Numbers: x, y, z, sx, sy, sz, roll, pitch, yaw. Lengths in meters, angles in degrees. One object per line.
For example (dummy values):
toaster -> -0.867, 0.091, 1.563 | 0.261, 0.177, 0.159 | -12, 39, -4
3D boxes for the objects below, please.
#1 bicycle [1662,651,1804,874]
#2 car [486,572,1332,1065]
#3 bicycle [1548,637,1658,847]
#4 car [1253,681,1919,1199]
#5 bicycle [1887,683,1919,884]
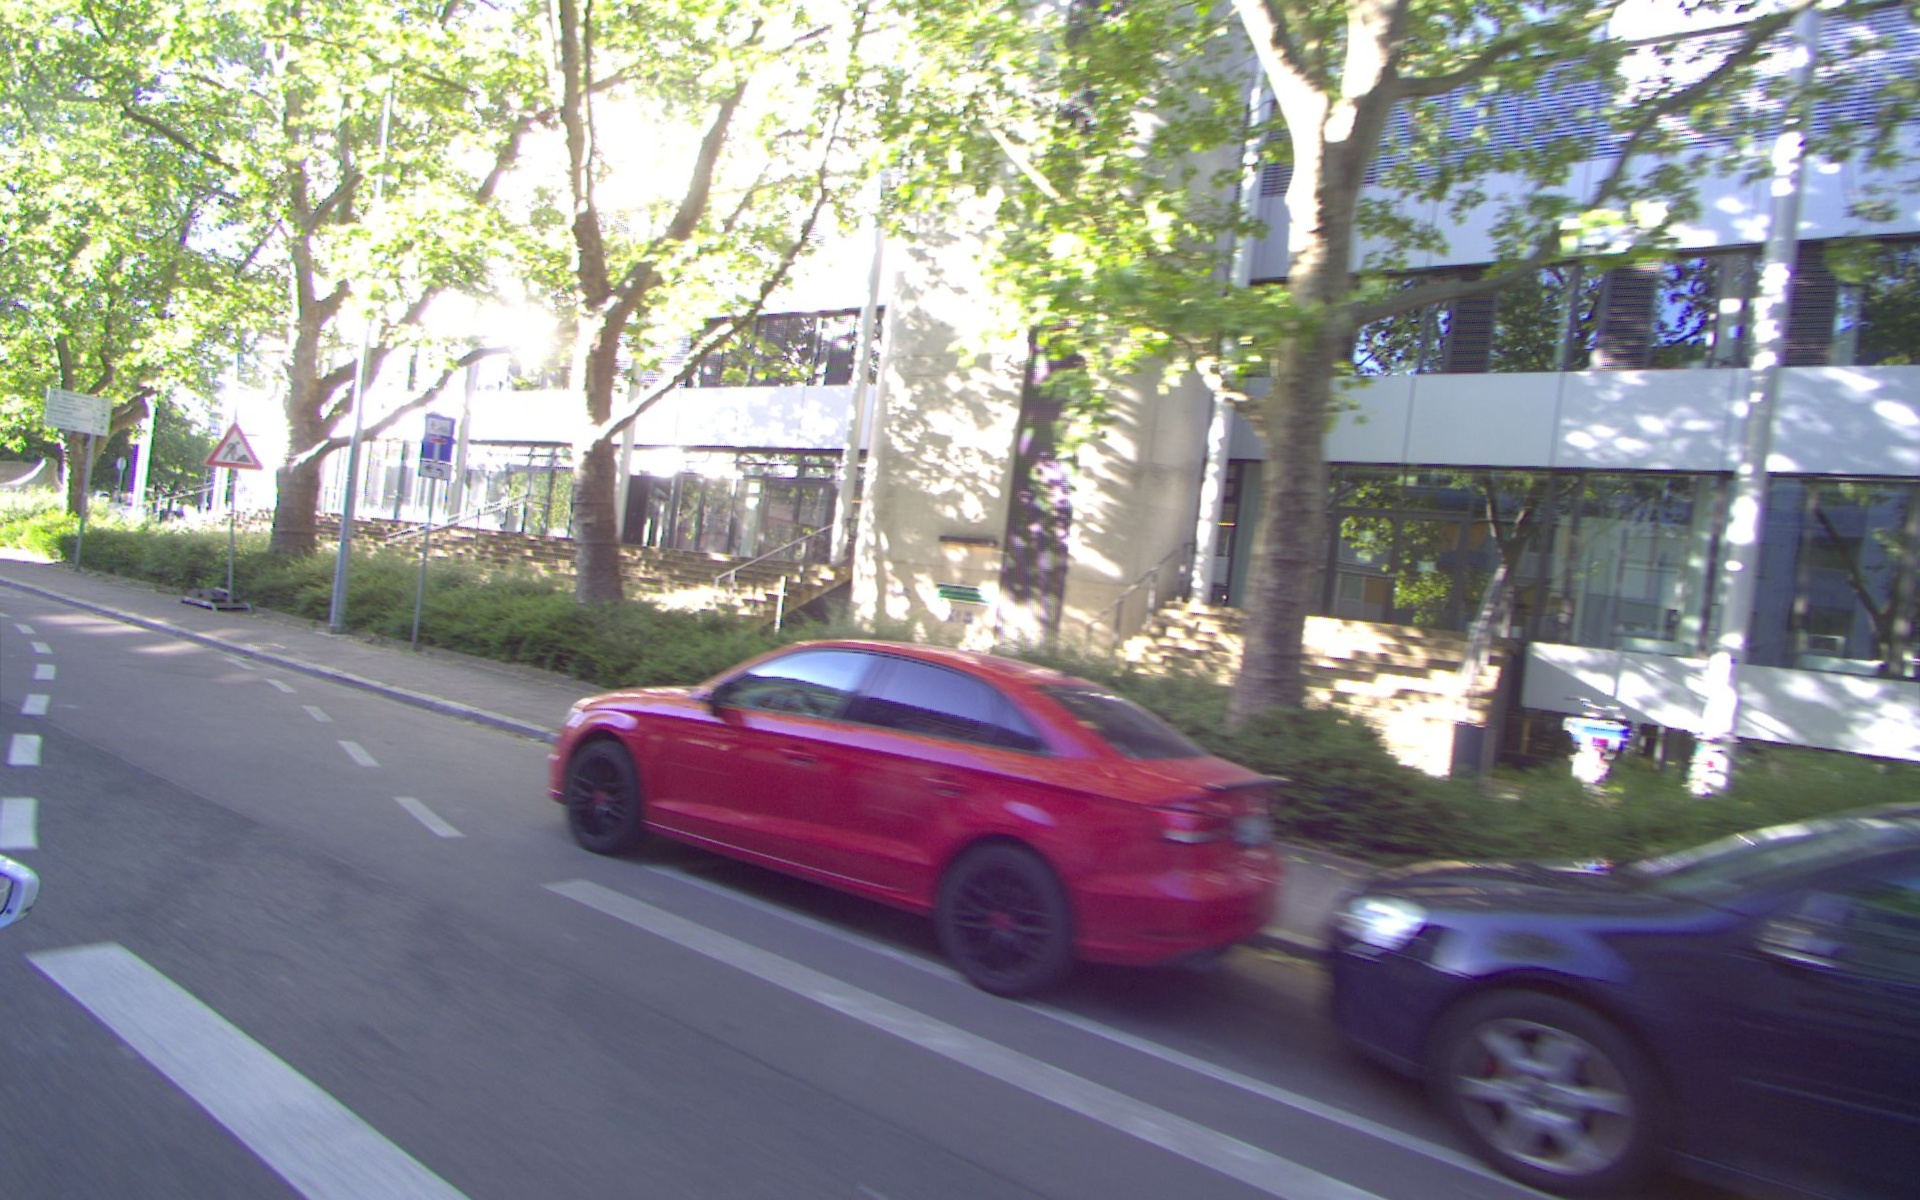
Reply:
bicycle -> 8.240, 1.661, 10.842 | 0.730, 2.038, 2.601 | 7, 0, 32
car -> -0.428, 0.889, 5.621 | 4.361, 1.465, 1.698 | 7, -3, 30
bicycle -> 7.238, 1.541, 11.393 | 0.730, 2.038, 2.601 | 7, 0, 32
car -> 3.291, 1.341, 3.355 | 3.999, 1.482, 1.696 | 7, -3, 33
bicycle -> 9.975, 1.853, 9.774 | 0.730, 2.038, 2.601 | 7, 0, 32
